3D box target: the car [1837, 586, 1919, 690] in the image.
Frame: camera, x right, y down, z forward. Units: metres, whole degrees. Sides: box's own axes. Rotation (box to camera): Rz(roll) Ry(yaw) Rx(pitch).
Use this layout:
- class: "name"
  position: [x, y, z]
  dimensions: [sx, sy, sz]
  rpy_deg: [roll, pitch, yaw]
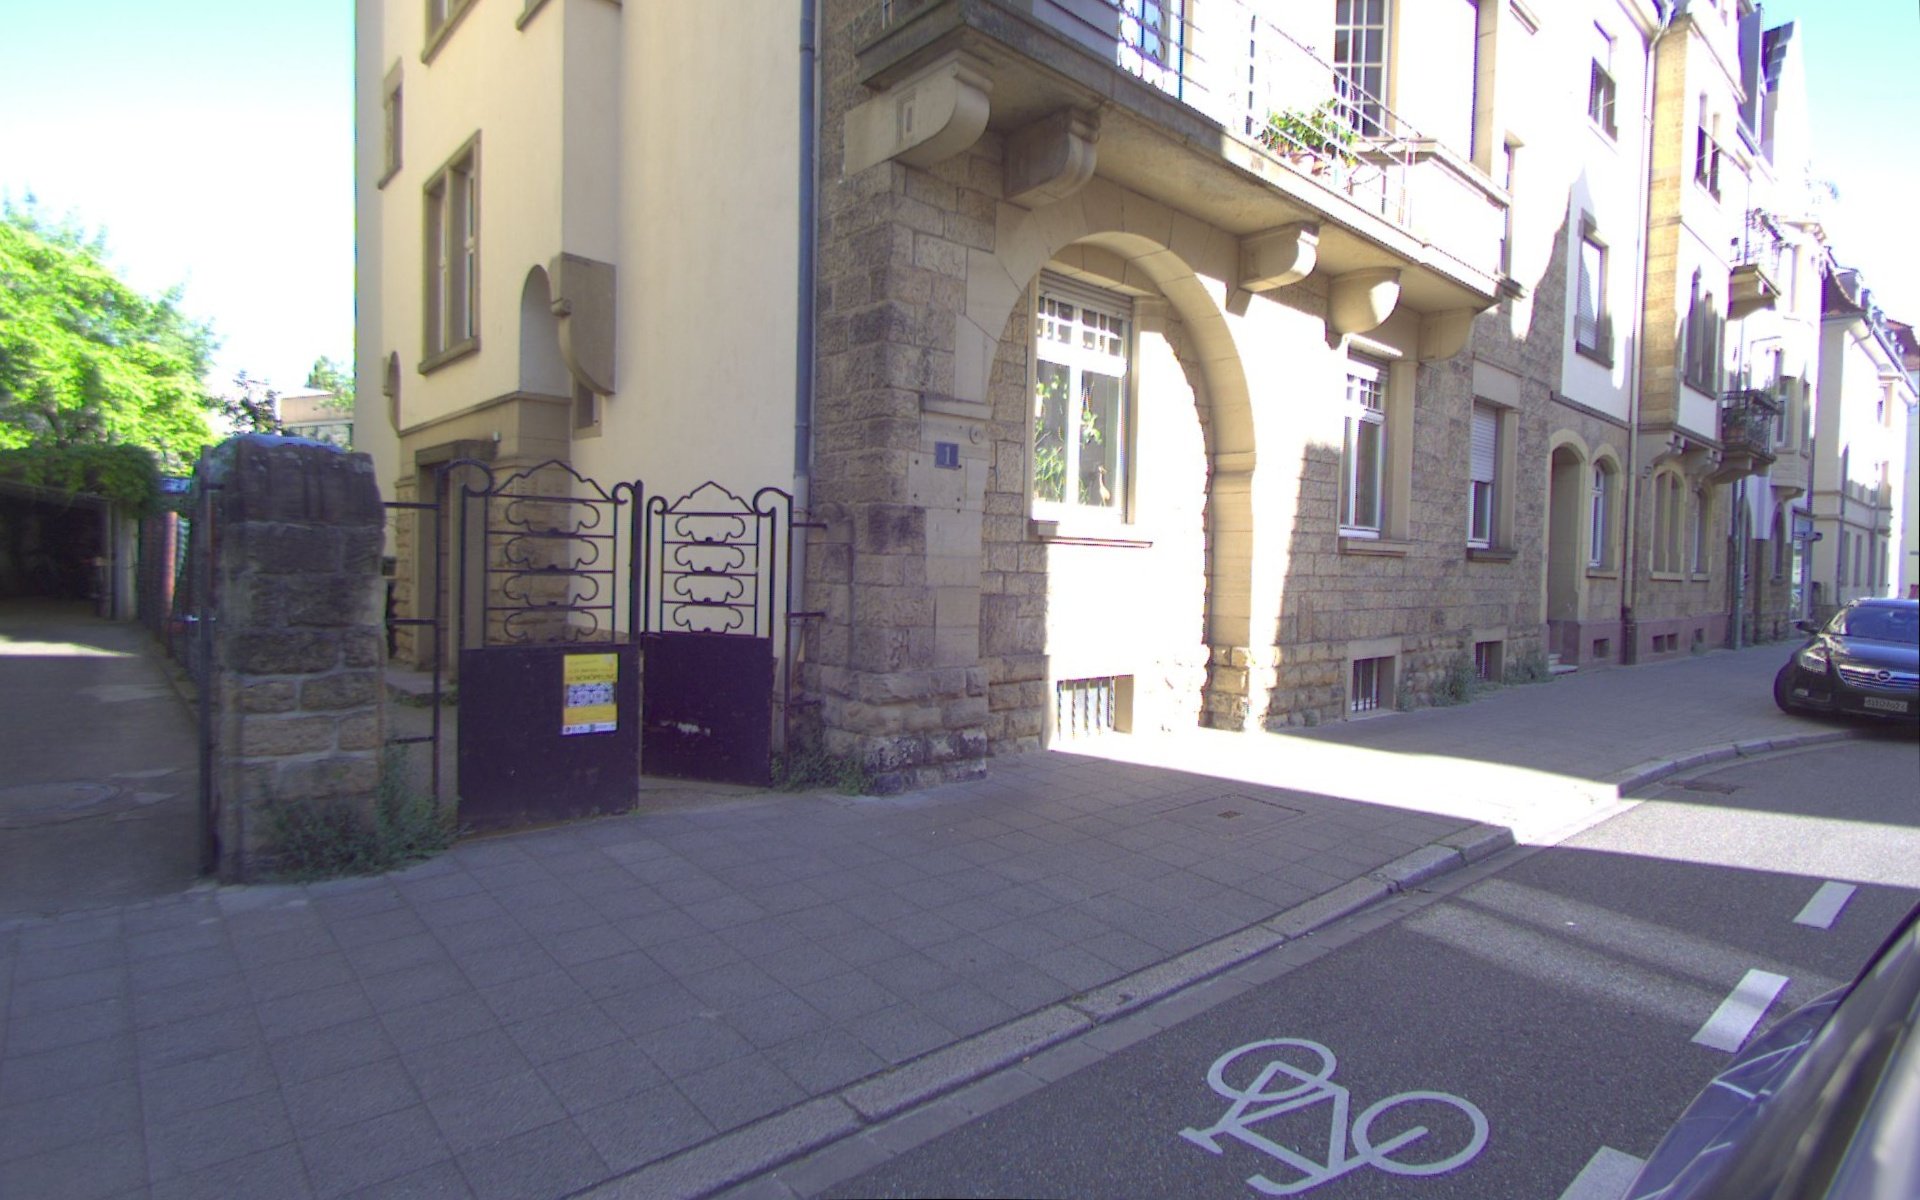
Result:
- class: "car"
  position: [15.384, 0.561, 16.122]
  dimensions: [4.186, 1.460, 1.654]
  rpy_deg: [0, 3, -43]

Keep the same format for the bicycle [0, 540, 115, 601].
- class: "bicycle"
  position: [-18.366, -0.608, 20.456]
  dimensions: [2.834, 1.124, 0.865]
  rpy_deg: [3, 2, 25]

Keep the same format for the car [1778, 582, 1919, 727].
- class: "car"
  position: [11.513, 0.578, 12.241]
  dimensions: [4.265, 1.480, 1.869]
  rpy_deg: [0, 3, -42]

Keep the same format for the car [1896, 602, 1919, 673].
- class: "car"
  position: [19.356, 0.711, 19.557]
  dimensions: [3.877, 1.270, 1.694]
  rpy_deg: [0, 2, -45]

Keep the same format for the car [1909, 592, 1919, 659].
- class: "car"
  position: [22.437, 0.573, 22.534]
  dimensions: [1.787, 1.447, 3.746]
  rpy_deg: [3, 2, 44]
